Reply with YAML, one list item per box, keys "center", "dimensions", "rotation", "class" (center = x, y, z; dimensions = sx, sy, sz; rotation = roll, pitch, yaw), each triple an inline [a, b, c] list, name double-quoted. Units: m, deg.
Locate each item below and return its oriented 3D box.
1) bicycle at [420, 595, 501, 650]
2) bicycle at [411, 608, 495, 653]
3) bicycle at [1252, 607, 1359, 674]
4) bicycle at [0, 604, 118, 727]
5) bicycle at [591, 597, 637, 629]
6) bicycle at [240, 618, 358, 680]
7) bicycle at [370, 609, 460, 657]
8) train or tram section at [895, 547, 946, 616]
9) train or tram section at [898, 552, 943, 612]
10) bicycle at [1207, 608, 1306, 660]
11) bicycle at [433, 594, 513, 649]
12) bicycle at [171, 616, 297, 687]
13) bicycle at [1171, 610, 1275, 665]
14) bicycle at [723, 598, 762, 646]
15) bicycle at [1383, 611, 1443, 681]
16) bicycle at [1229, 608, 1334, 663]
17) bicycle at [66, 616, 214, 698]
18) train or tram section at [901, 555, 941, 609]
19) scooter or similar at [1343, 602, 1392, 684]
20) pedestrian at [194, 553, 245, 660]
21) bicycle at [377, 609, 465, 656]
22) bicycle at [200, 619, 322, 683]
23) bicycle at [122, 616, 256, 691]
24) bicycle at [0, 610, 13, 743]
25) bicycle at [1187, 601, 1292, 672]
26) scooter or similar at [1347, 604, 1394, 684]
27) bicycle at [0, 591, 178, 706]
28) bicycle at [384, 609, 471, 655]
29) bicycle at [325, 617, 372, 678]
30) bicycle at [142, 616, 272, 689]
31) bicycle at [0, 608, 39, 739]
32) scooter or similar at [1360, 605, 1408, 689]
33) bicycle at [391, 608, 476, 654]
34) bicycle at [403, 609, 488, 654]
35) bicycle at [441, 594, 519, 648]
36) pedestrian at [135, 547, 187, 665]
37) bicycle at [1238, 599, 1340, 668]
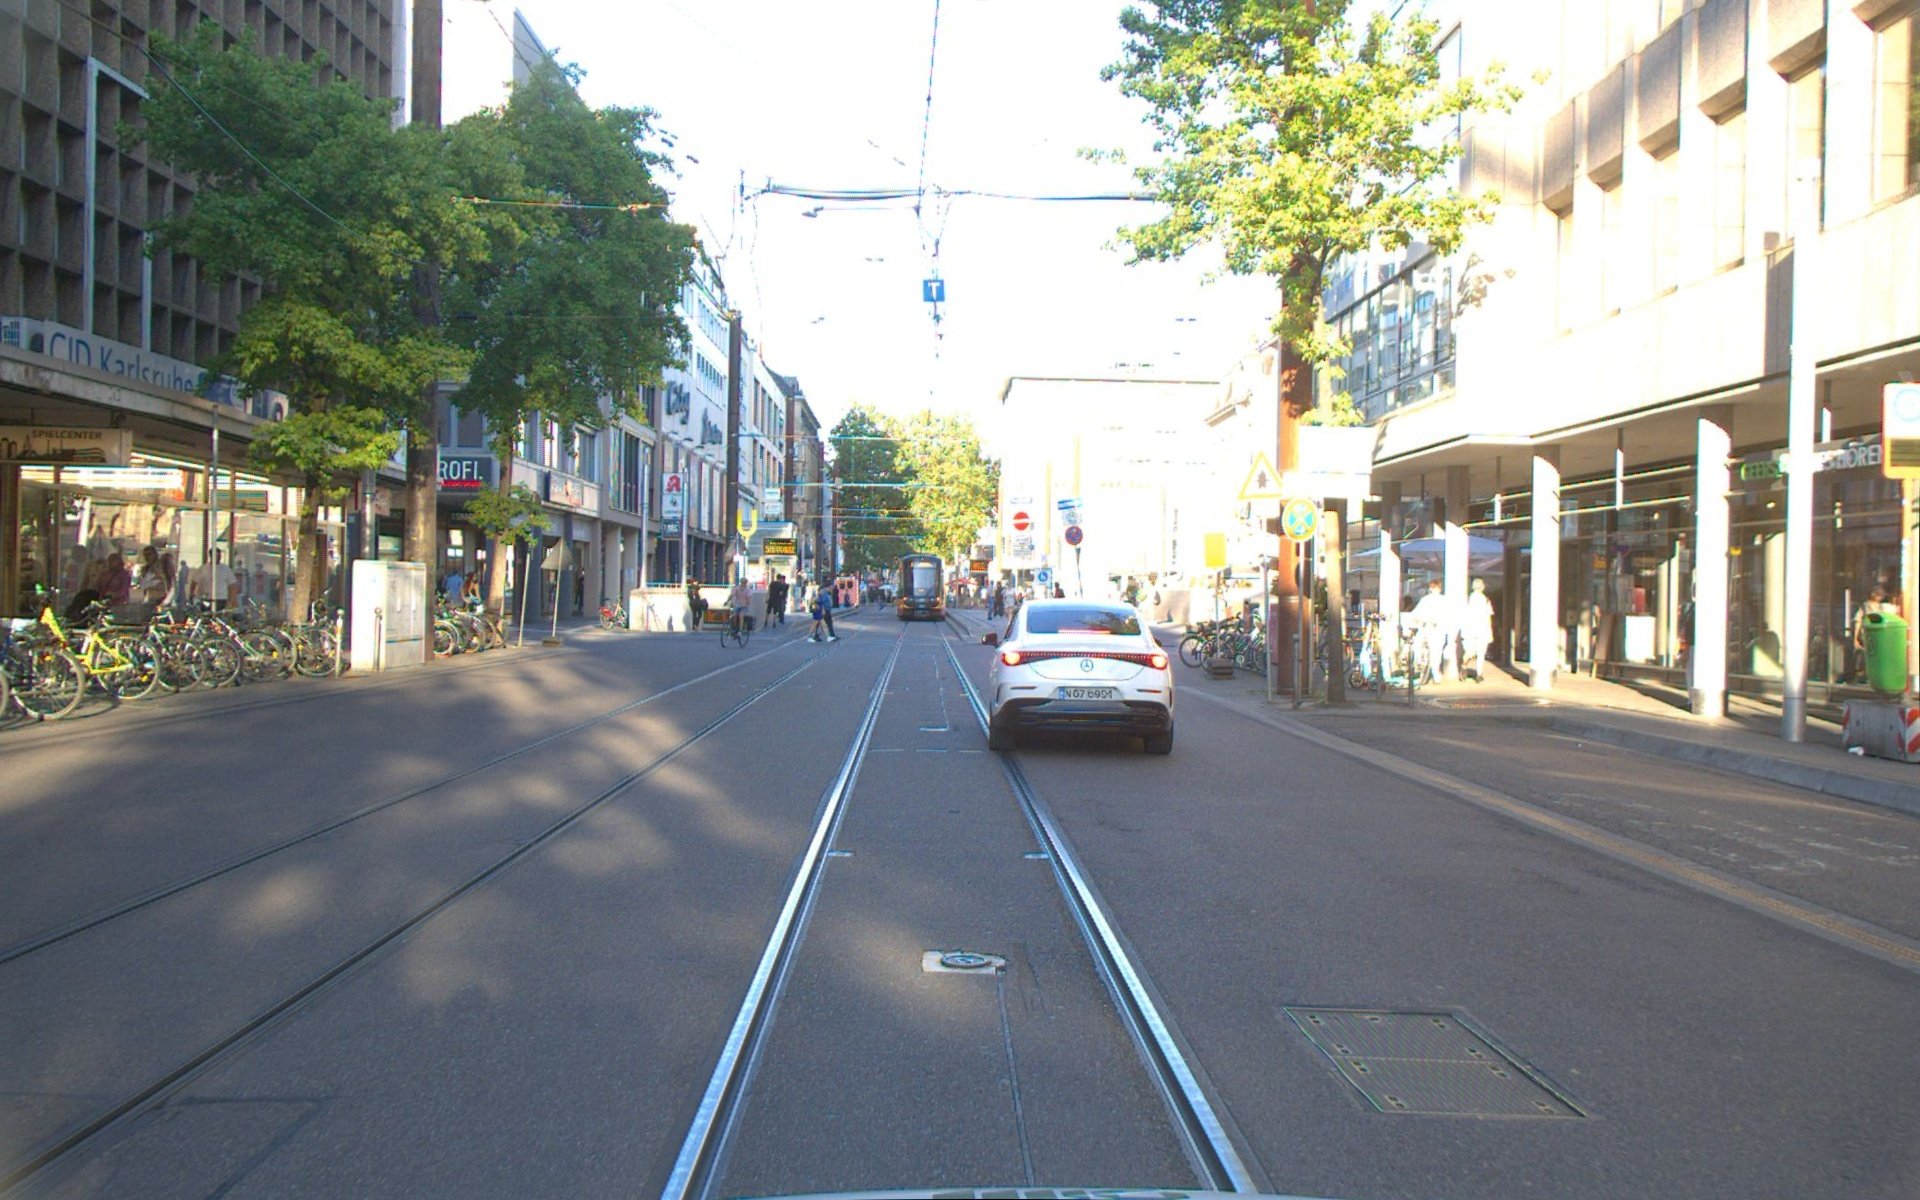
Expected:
- center: [-9.830, 0.441, 32.554]
  dimensions: [1.466, 1.027, 0.344]
  rotation: [2, 0, -12]
  class: "bicycle"
- center: [-9.684, 0.582, 31.600]
  dimensions: [1.462, 0.797, 0.344]
  rotation: [2, 0, 0]
  class: "bicycle"
- center: [6.461, 0.749, 30.945]
  dimensions: [1.875, 1.177, 0.608]
  rotation: [-1, 0, -13]
  class: "bicycle"
- center: [-8.884, 0.597, 15.406]
  dimensions: [1.810, 1.096, 0.377]
  rotation: [2, 0, -6]
  class: "bicycle"
- center: [-11.320, 0.412, 54.150]
  dimensions: [0.703, 1.027, 2.041]
  rotation: [1, 0, 12]
  class: "bicycle"
- center: [-9.146, 0.673, 22.894]
  dimensions: [1.462, 0.797, 0.344]
  rotation: [2, 0, 0]
  class: "bicycle"
- center: [-9.812, 0.588, 29.790]
  dimensions: [1.462, 0.797, 0.344]
  rotation: [2, 0, 0]
  class: "bicycle"
- center: [-2.195, -1.022, 92.085]
  dimensions: [2.640, 3.578, 12.542]
  rotation: [0, 0, -1]
  class: "train or tram section"
- center: [-2.479, -1.134, 104.632]
  dimensions: [2.640, 3.578, 12.542]
  rotation: [0, 0, -1]
  class: "train or tram section"
- center: [6.508, 0.737, 36.291]
  dimensions: [2.077, 1.115, 0.608]
  rotation: [0, 0, -13]
  class: "bicycle"
- center: [-9.709, 0.433, 32.997]
  dimensions: [1.466, 1.047, 0.344]
  rotation: [2, 0, -12]
  class: "bicycle"
- center: [-9.447, 0.663, 21.542]
  dimensions: [1.462, 0.855, 0.344]
  rotation: [2, 0, 0]
  class: "bicycle"
- center: [5.523, 0.778, 34.732]
  dimensions: [2.077, 1.115, 0.608]
  rotation: [1, 0, -13]
  class: "bicycle"
- center: [-5.624, 0.554, 42.875]
  dimensions: [0.784, 1.162, 2.256]
  rotation: [2, 0, -3]
  class: "bicycle"
- center: [7.837, 0.777, 28.690]
  dimensions: [0.553, 1.147, 1.930]
  rotation: [-1, 0, 2]
  class: "bicycle"
- center: [6.630, 0.728, 34.096]
  dimensions: [2.078, 1.115, 0.607]
  rotation: [0, 0, -15]
  class: "bicycle"
- center: [-9.492, 0.663, 19.170]
  dimensions: [1.464, 0.892, 0.344]
  rotation: [2, 0, -8]
  class: "bicycle"
- center: [-2.754, -1.235, 116.466]
  dimensions: [2.640, 3.578, 11.140]
  rotation: [0, 0, -1]
  class: "train or tram section"
- center: [6.629, 0.698, 26.947]
  dimensions: [0.518, 1.299, 0.658]
  rotation: [-1, 0, -13]
  class: "scooter or similar"
- center: [-12.579, 0.111, 28.091]
  dimensions: [0.776, 1.797, 0.533]
  rotation: [0, 0, -26]
  class: "pedestrian"
- center: [-9.817, 0.589, 30.145]
  dimensions: [1.462, 0.797, 0.344]
  rotation: [2, 0, 0]
  class: "bicycle"
- center: [-9.394, 0.678, 22.236]
  dimensions: [1.462, 0.797, 0.344]
  rotation: [2, 0, 0]
  class: "bicycle"
- center: [-9.555, 0.661, 20.510]
  dimensions: [1.462, 0.855, 0.344]
  rotation: [2, 0, 0]
  class: "bicycle"
- center: [-8.853, 0.610, 13.654]
  dimensions: [1.754, 1.096, 0.377]
  rotation: [2, 0, -6]
  class: "bicycle"
- center: [5.361, 0.683, 31.742]
  dimensions: [1.875, 1.303, 0.608]
  rotation: [-1, 0, -13]
  class: "bicycle"
- center: [6.845, 0.723, 27.603]
  dimensions: [0.518, 1.299, 0.658]
  rotation: [-1, 0, -13]
  class: "scooter or similar"
- center: [-9.444, 0.520, 17.827]
  dimensions: [1.808, 1.160, 0.377]
  rotation: [2, 0, 0]
  class: "bicycle"
- center: [-9.820, 0.587, 30.504]
  dimensions: [1.462, 0.797, 0.344]
  rotation: [2, 0, 0]
  class: "bicycle"
- center: [-8.796, 0.673, 23.833]
  dimensions: [0.337, 0.797, 1.402]
  rotation: [2, 0, -9]
  class: "bicycle"
- center: [-9.507, 0.662, 20.898]
  dimensions: [1.462, 0.855, 0.344]
  rotation: [2, 0, 0]
  class: "bicycle"
- center: [-8.883, 0.597, 14.113]
  dimensions: [1.754, 1.096, 0.377]
  rotation: [2, 0, -6]
  class: "bicycle"
- center: [6.728, 0.733, 26.278]
  dimensions: [0.483, 1.299, 0.658]
  rotation: [-1, 0, -13]
  class: "scooter or similar"
- center: [-9.819, 0.584, 30.865]
  dimensions: [1.462, 0.797, 0.344]
  rotation: [2, 0, 0]
  class: "bicycle"
- center: [-9.708, 0.590, 31.231]
  dimensions: [1.462, 0.797, 0.344]
  rotation: [2, 0, 0]
  class: "bicycle"
- center: [-9.783, 0.434, 33.742]
  dimensions: [1.466, 1.047, 0.344]
  rotation: [2, 0, -12]
  class: "bicycle"
- center: [-12.320, 0.086, 25.523]
  dimensions: [0.705, 1.797, 0.679]
  rotation: [0, 0, -26]
  class: "pedestrian"
- center: [6.493, 0.655, 32.679]
  dimensions: [1.875, 1.303, 0.608]
  rotation: [-1, 0, -13]
  class: "bicycle"
